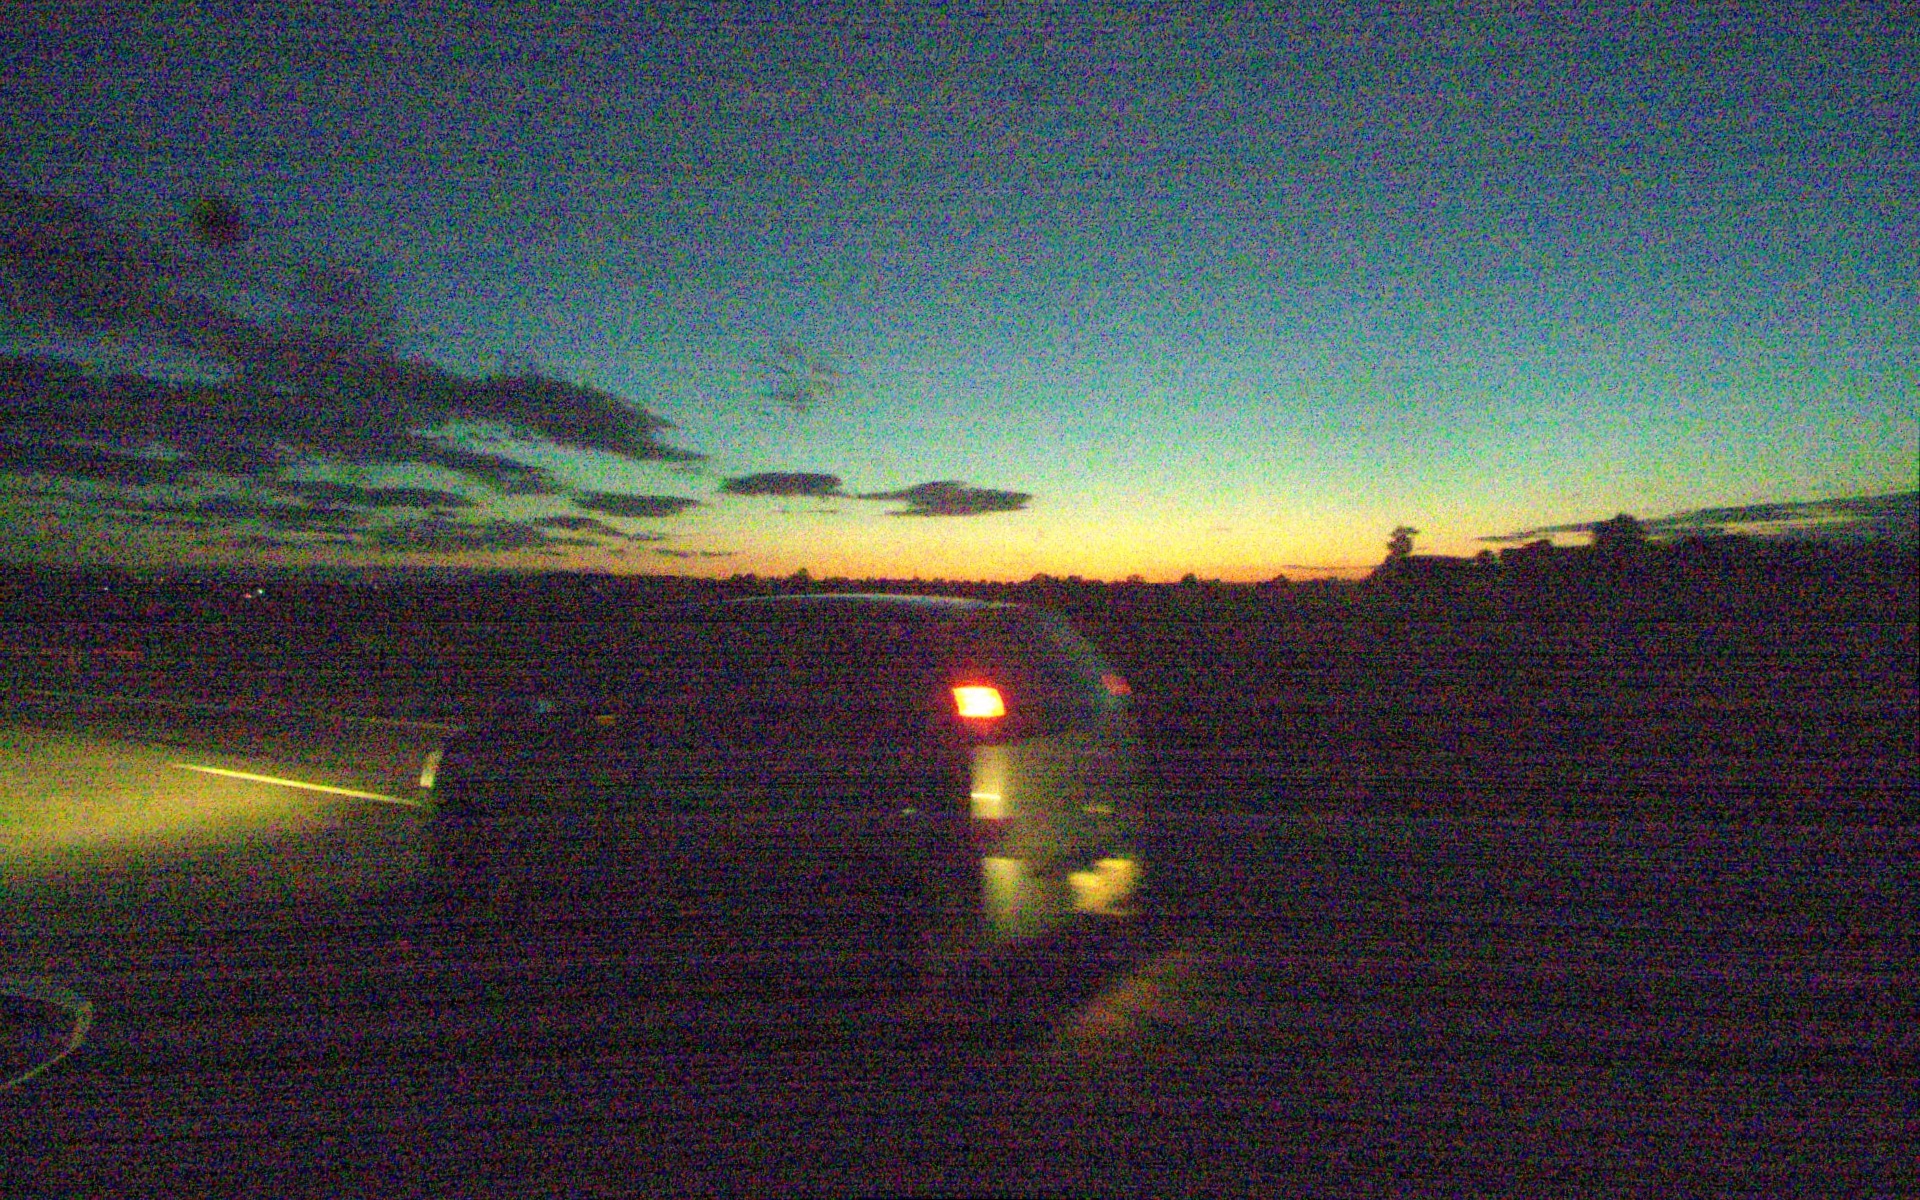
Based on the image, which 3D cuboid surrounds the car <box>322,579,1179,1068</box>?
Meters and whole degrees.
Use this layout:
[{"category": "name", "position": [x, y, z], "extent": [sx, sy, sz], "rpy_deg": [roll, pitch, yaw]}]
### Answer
[{"category": "car", "position": [-1.282, 0.763, 5.184], "extent": [4.444, 1.618, 1.643], "rpy_deg": [-1, 0, 32]}]
